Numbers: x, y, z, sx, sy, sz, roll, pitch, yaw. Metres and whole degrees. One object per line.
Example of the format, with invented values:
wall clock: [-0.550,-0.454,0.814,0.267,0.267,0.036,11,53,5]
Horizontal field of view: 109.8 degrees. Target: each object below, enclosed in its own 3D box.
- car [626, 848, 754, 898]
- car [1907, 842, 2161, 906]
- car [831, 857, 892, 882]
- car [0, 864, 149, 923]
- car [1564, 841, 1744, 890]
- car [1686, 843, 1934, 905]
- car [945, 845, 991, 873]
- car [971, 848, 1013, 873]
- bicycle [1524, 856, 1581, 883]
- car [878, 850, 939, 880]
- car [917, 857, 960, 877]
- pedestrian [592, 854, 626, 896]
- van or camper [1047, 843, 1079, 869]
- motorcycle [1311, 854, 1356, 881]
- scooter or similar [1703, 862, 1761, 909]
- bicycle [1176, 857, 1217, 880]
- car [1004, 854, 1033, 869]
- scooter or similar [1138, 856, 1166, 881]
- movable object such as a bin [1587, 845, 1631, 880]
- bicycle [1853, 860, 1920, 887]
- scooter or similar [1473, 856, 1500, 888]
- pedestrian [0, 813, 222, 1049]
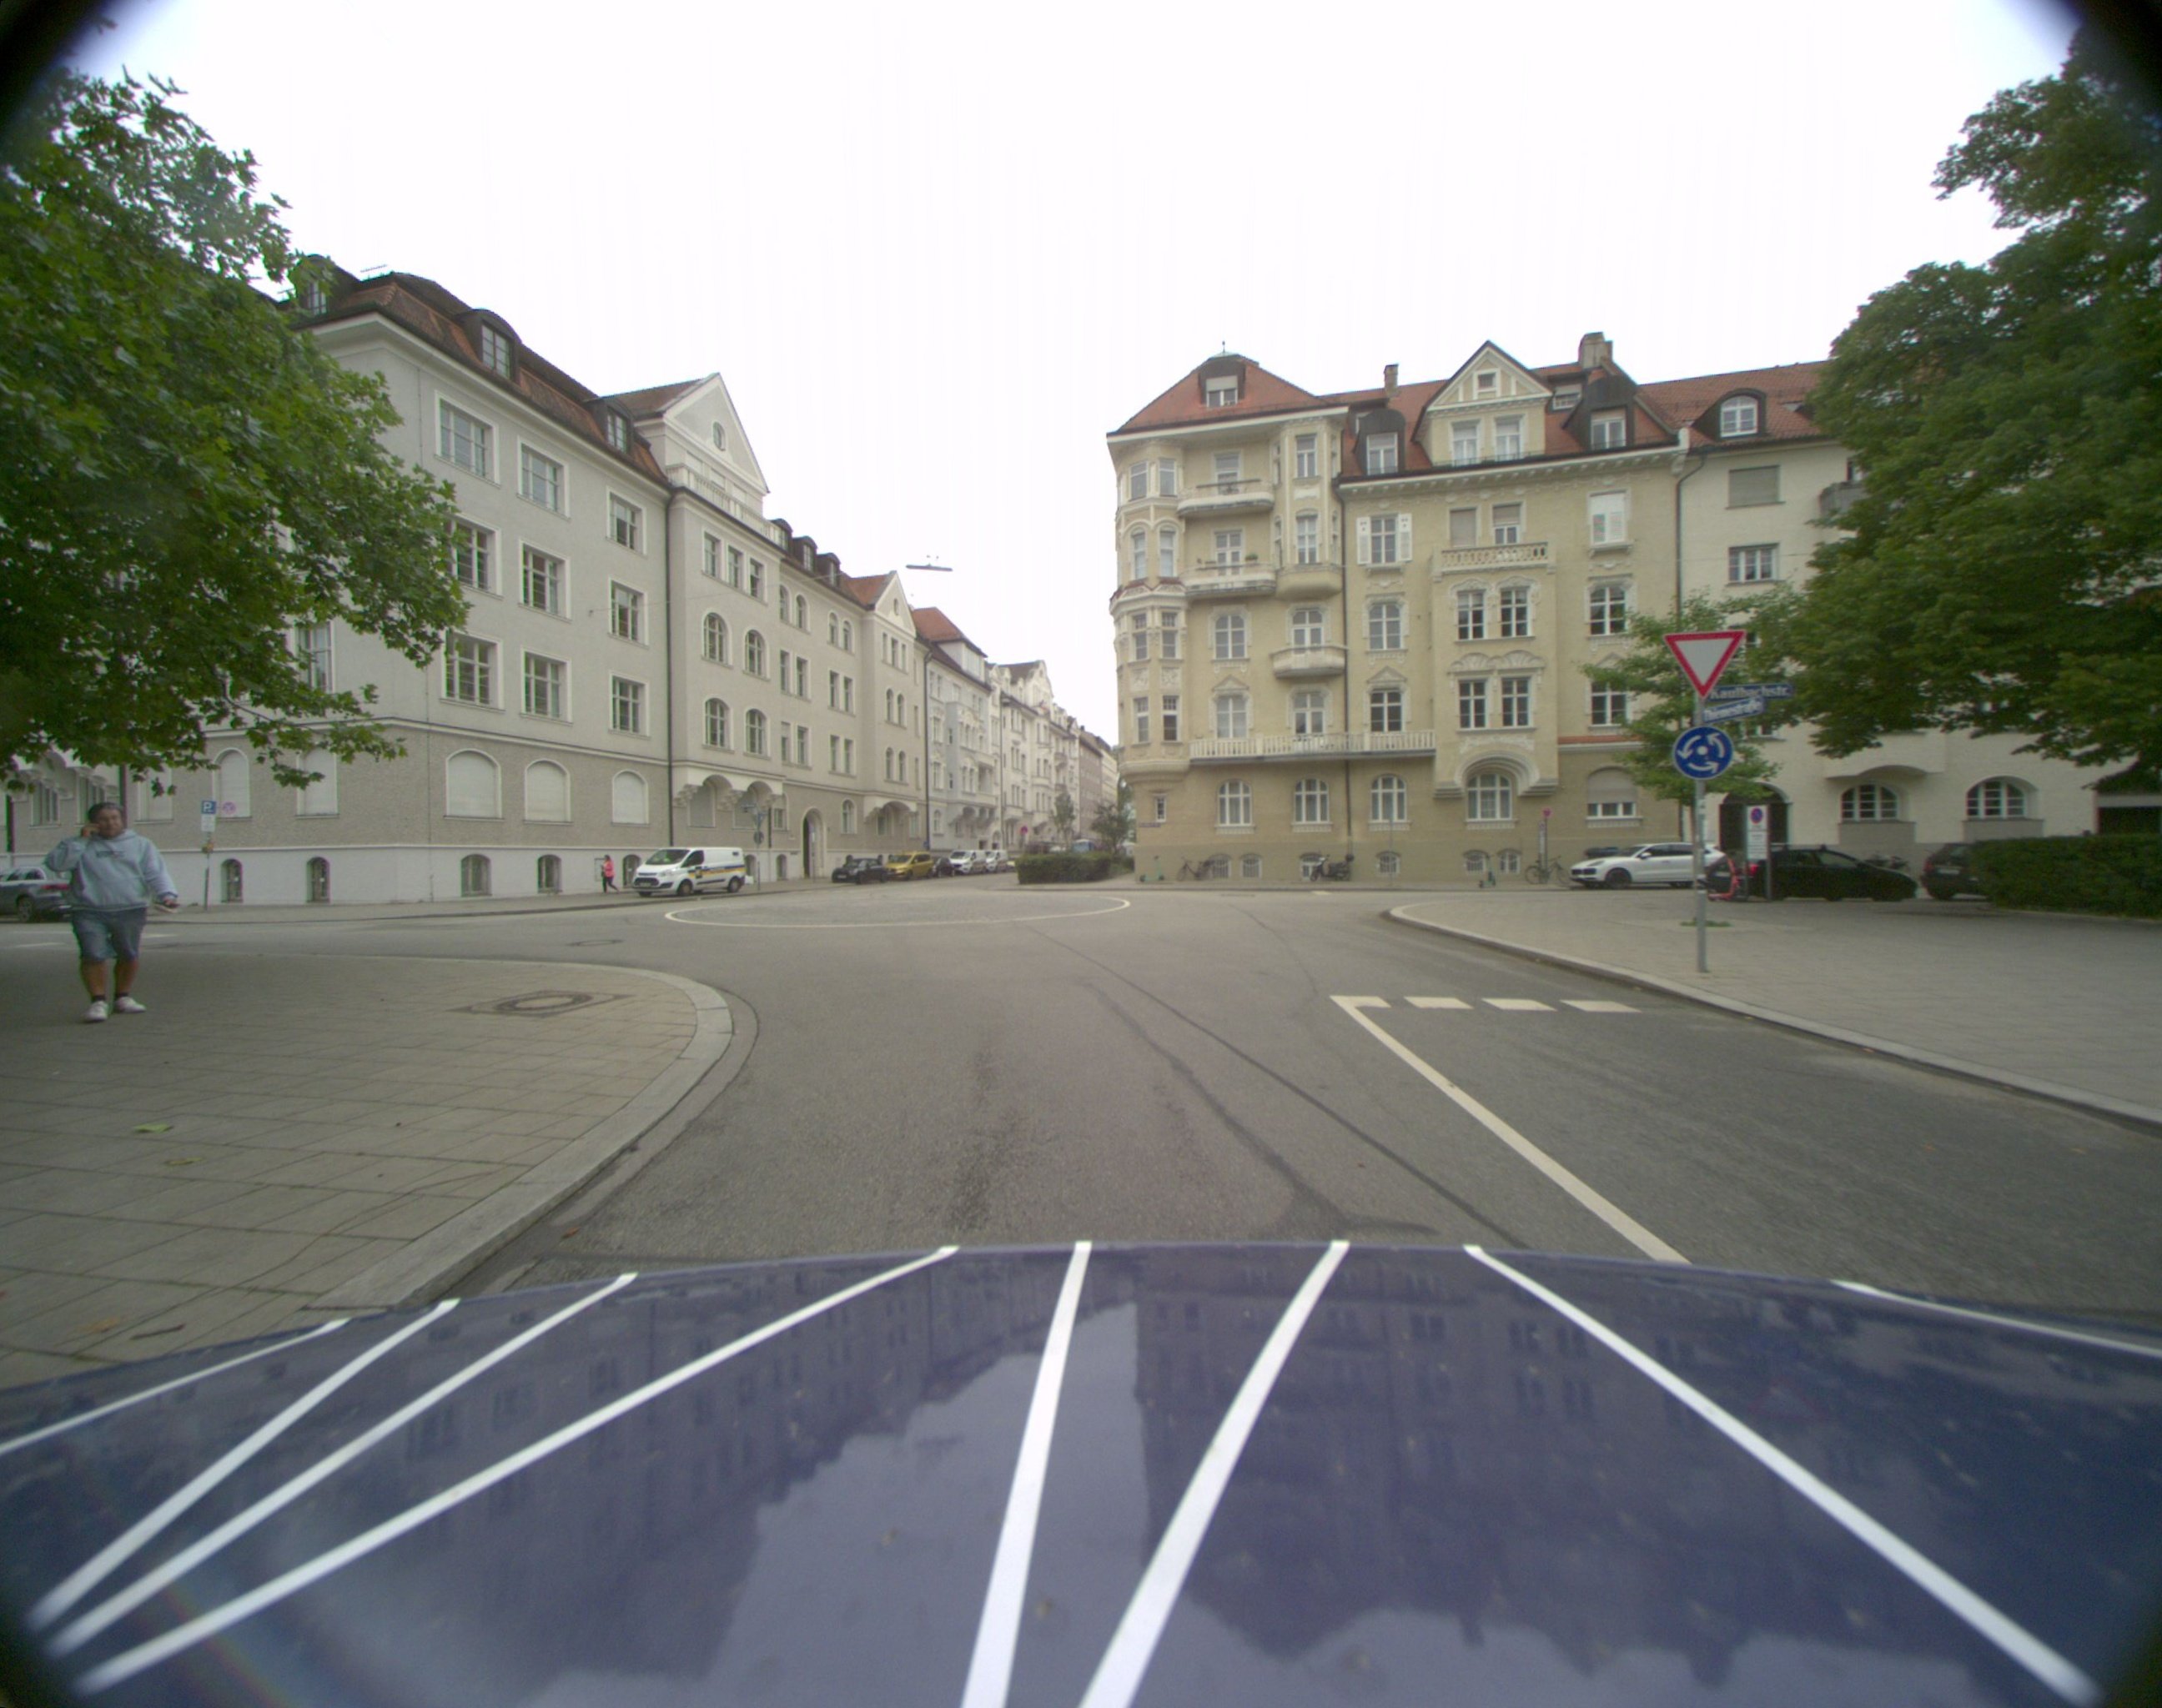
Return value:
car: [-15.712,0.696,30.903,1.922,1.870,4.915,0,0,12]
car: [23.856,0.490,18.975,4.229,1.496,1.800,-1,-1,6]
car: [-12.381,0.829,43.089,1.694,1.338,3.684,0,0,14]
car: [-29.769,1.096,21.988,4.488,1.592,1.755,0,-1,14]
car: [20.550,0.412,27.470,4.832,1.691,1.983,-1,1,11]
car: [18.636,0.513,19.609,4.416,1.496,1.826,-1,-1,6]
car: [-8.734,0.357,59.259,2.121,2.079,4.826,0,0,10]
car: [-7.560,0.544,65.270,2.121,1.982,4.827,0,0,12]
bicycle: [18.583,0.598,29.973,1.827,1.043,0.565,-1,1,10]
car: [-10.914,0.702,48.319,2.023,1.828,4.141,0,0,16]
car: [-9.962,0.885,53.318,1.694,1.338,3.542,0,0,13]
pedestrian: [-18.802,0.837,30.280,0.732,1.626,0.856,0,1,14]
van or camper: [-2.060,0.186,89.688,1.996,2.897,6.444,0,1,15]
motorcycle: [11.172,0.593,33.706,1.827,1.169,0.600,-1,1,10]
scooter or similar: [15.539,0.735,18.144,0.391,1.082,1.000,-1,1,-16]
bicycle: [5.338,0.677,35.011,1.827,1.043,0.565,-1,1,10]
car: [-5.820,0.700,70.755,1.694,1.338,3.542,0,0,13]
scooter or similar: [3.282,0.653,35.168,1.216,1.109,0.467,-1,1,-21]
movable object such as a bin: [21.691,0.349,31.220,1.171,1.417,1.095,0,1,13]
bicycle: [31.589,0.774,29.825,1.827,1.043,0.565,-1,1,10]
scooter or similar: [15.472,0.686,28.961,1.218,1.187,0.466,-1,1,-40]
pedestrian: [-7.997,0.577,6.224,1.050,1.761,0.878,0,1,16]
